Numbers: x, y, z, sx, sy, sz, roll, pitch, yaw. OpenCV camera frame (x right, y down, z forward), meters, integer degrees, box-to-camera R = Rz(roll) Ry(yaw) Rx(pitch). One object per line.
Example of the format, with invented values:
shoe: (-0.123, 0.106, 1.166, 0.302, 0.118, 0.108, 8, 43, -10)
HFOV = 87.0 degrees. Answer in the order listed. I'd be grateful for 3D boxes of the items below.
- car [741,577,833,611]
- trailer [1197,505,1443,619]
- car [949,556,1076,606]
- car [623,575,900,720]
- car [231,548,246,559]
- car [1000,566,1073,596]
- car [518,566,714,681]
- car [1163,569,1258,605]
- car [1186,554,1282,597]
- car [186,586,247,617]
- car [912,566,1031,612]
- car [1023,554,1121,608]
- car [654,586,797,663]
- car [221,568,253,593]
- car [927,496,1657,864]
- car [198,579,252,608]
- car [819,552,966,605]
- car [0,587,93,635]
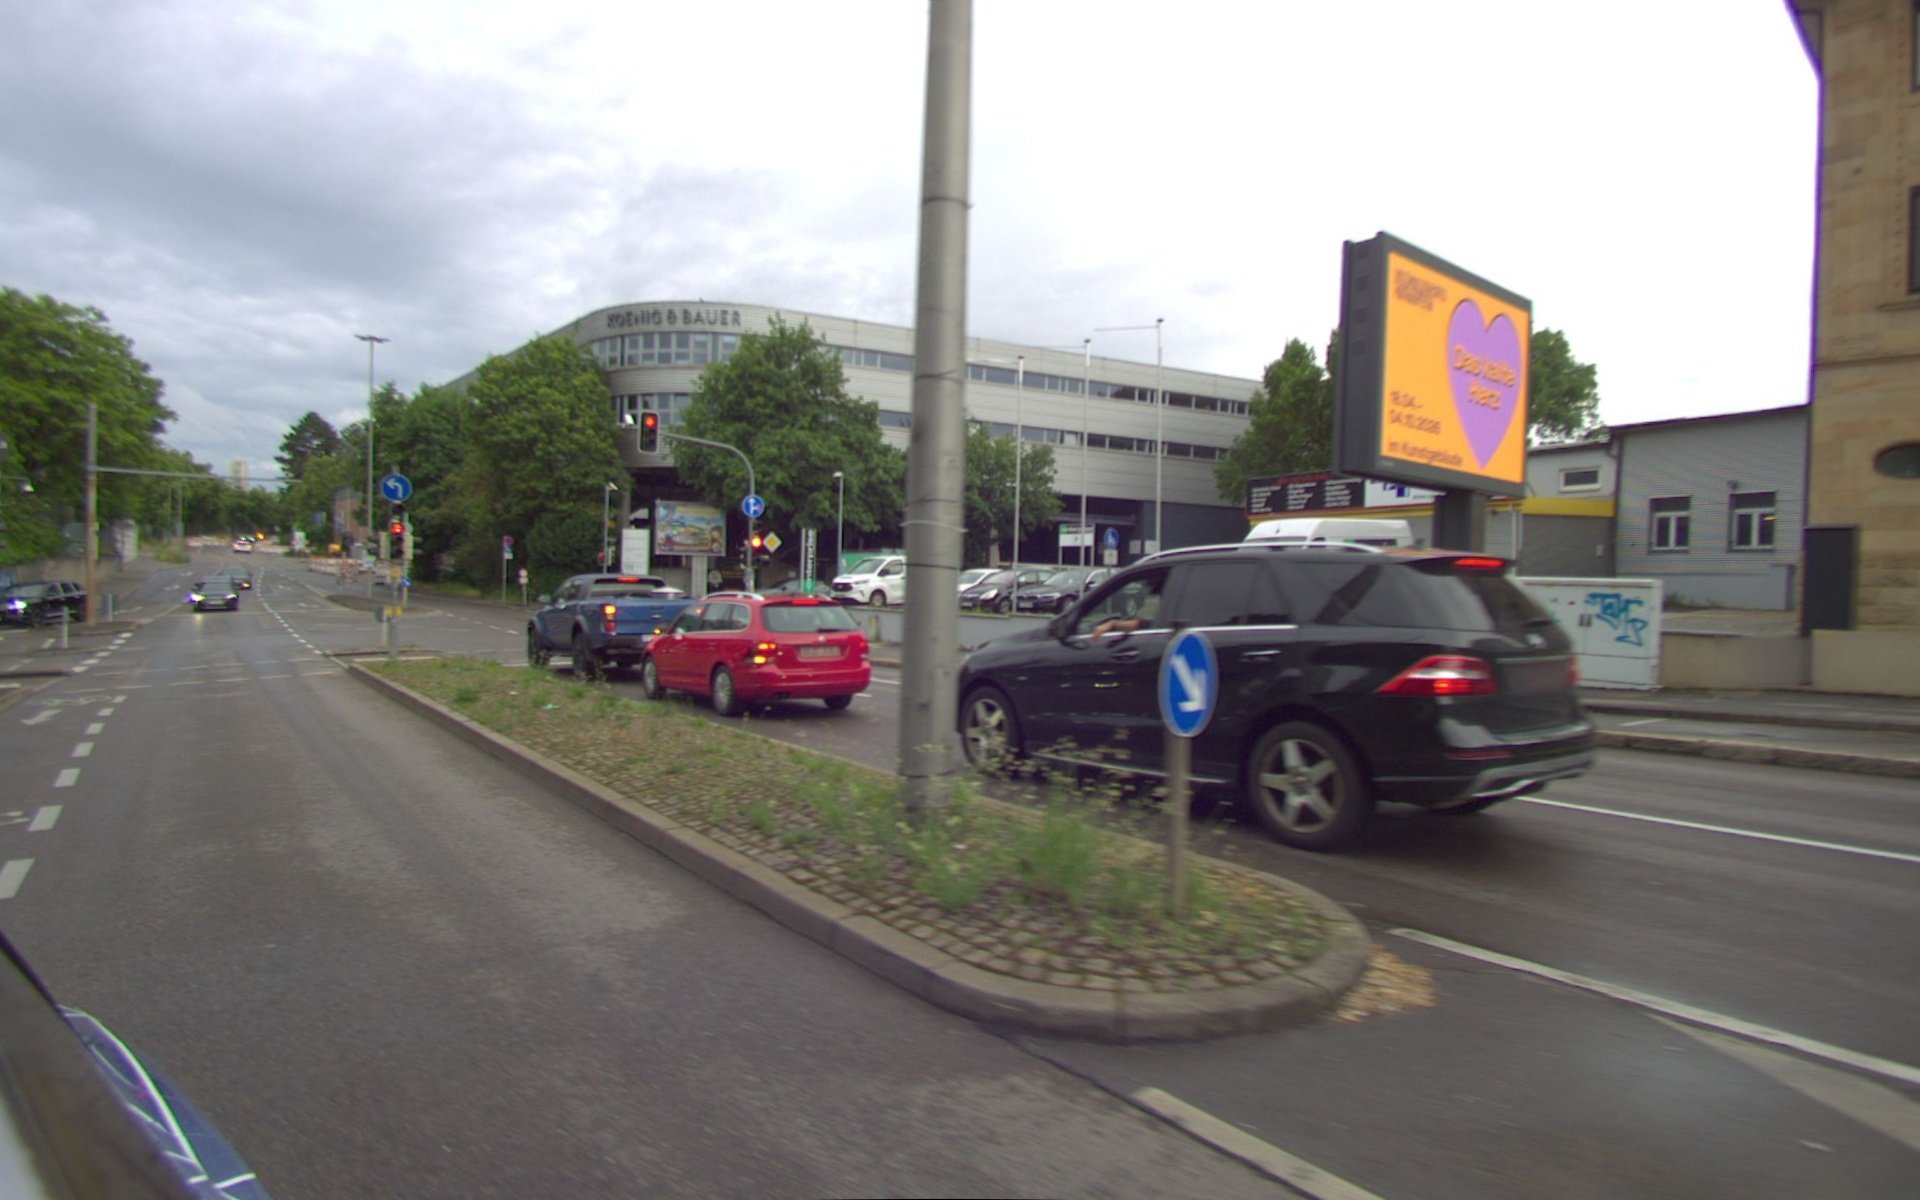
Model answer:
car: (-8.987, -0.355, 52.605, 4.306, 1.612, 2.041, -2, 2, -25)
trailer: (9.050, -0.825, 25.010, 7.006, 2.446, 2.400, 1, 1, -39)
car: (1.630, -0.619, 30.680, 3.565, 1.379, 1.746, -3, 3, -38)
car: (-2.801, 0.488, 13.438, 1.783, 1.542, 4.451, 1, 1, -38)
car: (-98.479, -6.345, 138.181, 1.508, 1.324, 3.240, 1, 1, -34)
car: (3.578, -0.900, 47.712, 1.550, 1.331, 3.303, 1, 1, -39)
car: (-6.524, 0.376, 18.745, 1.908, 1.832, 5.182, 1, 0, -37)
car: (10.453, -0.519, 42.516, 1.349, 1.417, 4.355, 1, -1, -27)
car: (12.722, -1.152, 47.221, 1.711, 1.874, 4.324, 1, 1, -31)
car: (-35.247, 0.047, 48.062, 1.570, 1.269, 3.769, -3, 3, -25)
car: (0.405, -0.416, 33.706, 3.565, 1.379, 1.877, -3, 3, -38)
car: (3.177, -0.553, 28.628, 2.644, 1.435, 1.230, -3, 3, -38)
car: (-5.303, 0.489, 22.540, 1.522, 1.469, 4.079, 1, 1, -38)
car: (-49.135, -1.320, 68.723, 1.709, 1.589, 3.719, 1, 1, -36)
car: (1.882, 0.380, 7.140, 1.929, 1.710, 4.636, 1, 0, -37)
car: (-40.525, -0.396, 55.891, 1.723, 1.380, 3.769, -3, 3, -25)
car: (-2.430, -0.782, 37.615, 2.221, 1.815, 5.294, 3, 1, 45)
car: (-35.297, 0.391, 38.343, 1.921, 1.555, 4.222, -2, 3, -12)
